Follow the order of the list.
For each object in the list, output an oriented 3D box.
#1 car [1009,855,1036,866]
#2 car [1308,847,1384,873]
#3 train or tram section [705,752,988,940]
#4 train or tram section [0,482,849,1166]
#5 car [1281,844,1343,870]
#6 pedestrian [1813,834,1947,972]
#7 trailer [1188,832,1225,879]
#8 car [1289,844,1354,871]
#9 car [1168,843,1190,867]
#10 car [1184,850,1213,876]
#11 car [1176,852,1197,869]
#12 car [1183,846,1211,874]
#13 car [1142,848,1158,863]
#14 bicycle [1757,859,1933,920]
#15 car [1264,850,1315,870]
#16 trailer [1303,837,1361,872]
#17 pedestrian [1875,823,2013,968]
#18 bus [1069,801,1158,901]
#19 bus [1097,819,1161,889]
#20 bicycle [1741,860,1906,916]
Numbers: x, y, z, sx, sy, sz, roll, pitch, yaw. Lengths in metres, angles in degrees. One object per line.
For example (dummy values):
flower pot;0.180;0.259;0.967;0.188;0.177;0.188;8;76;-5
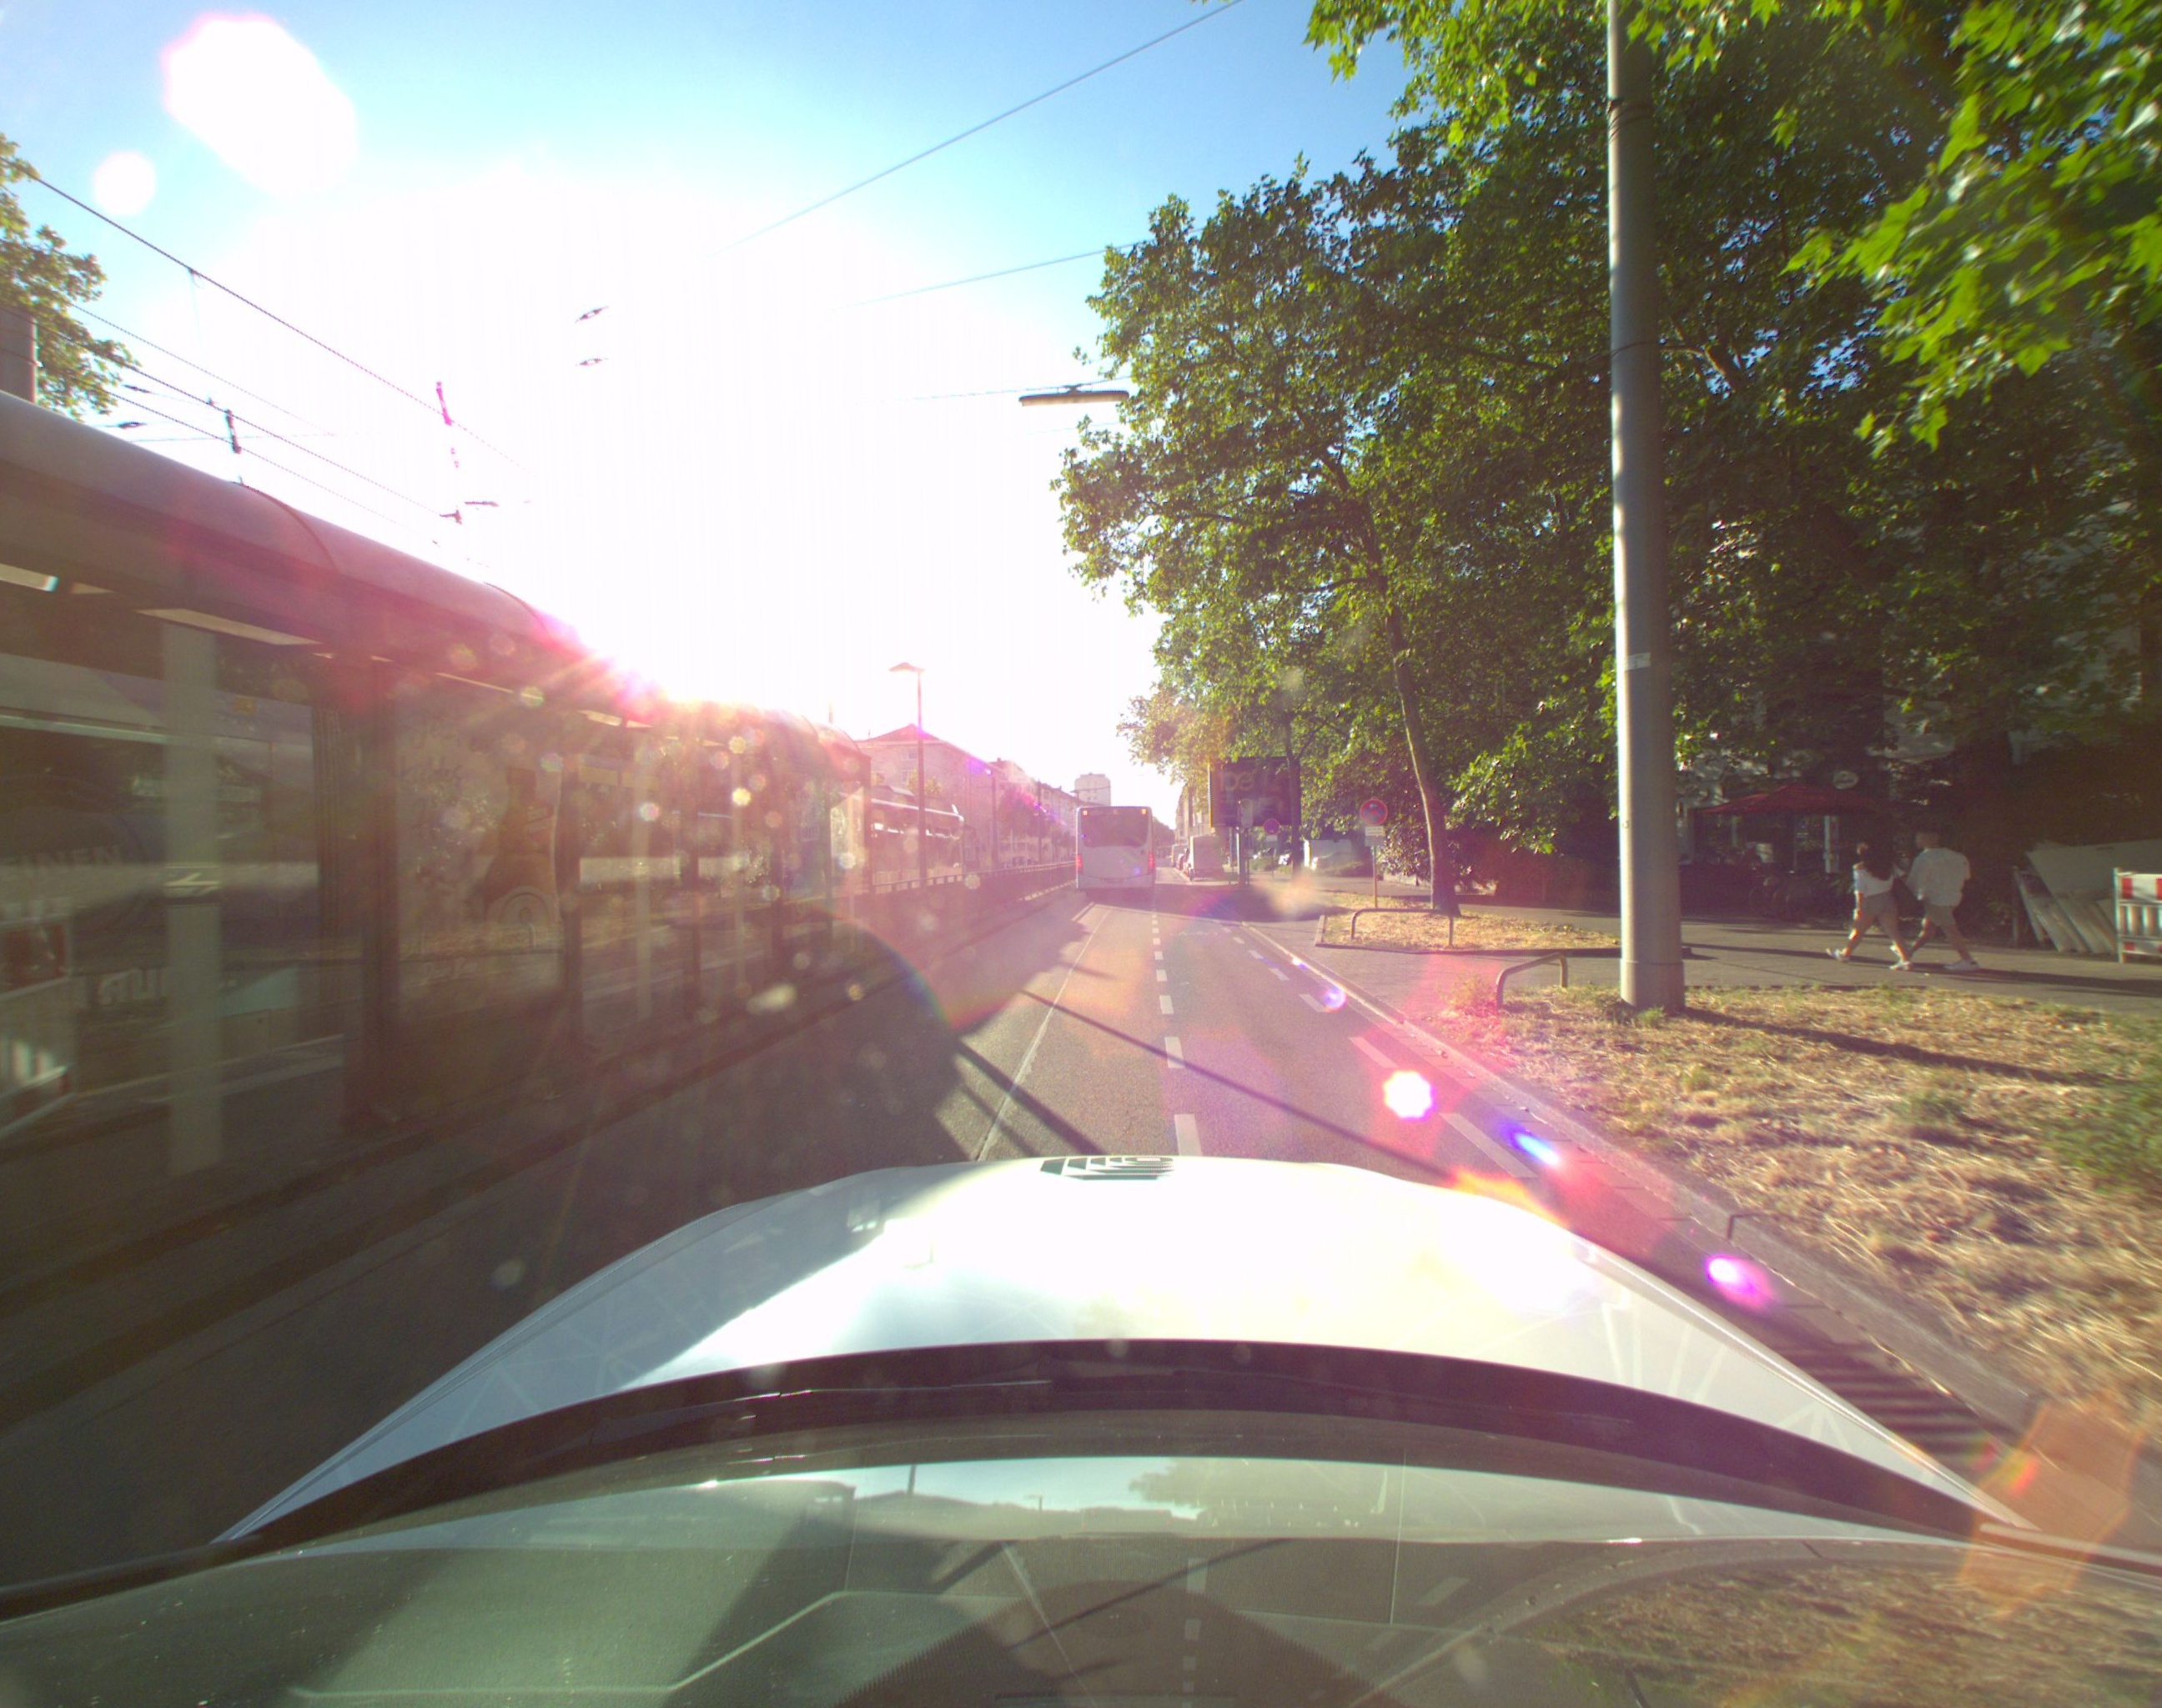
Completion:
car;-9.590;1.099;133.374;4.118;1.618;2.002;-2;0;3
car;15.264;0.339;47.091;3.900;1.336;1.709;-2;0;6
train or tram section;-5.269;-0.166;22.228;2.628;3.519;13.353;-2;0;5
train or tram section;-6.474;-0.141;9.422;2.715;3.549;12.804;-2;0;5
car;16.265;0.212;57.388;3.902;1.637;1.708;-2;-1;5
pedestrian;9.601;0.561;9.817;0.787;1.572;0.816;-1;0;0
trailer;7.311;0.074;47.636;1.824;2.557;3.323;-2;0;5
car;16.218;0.244;55.018;3.902;1.636;1.708;-2;-1;5
car;11.141;0.095;92.737;2.271;2.627;5.317;-2;0;5
car;7.853;0.595;54.737;1.692;1.588;3.833;-2;0;5
car;9.919;0.568;76.696;1.663;1.463;3.939;-4;-1;5
car;8.598;0.467;60.734;1.838;1.956;4.550;-2;0;5
car;8.882;0.166;104.914;1.983;1.816;4.007;-1;0;6
bicycle;14.033;0.654;15.016;2.359;1.024;0.666;-2;-1;10
car;17.584;0.497;68.724;3.902;1.588;1.708;-2;-1;5
trailer;15.306;0.033;49.790;3.048;2.069;1.882;-1;0;6
pedestrian;10.406;0.477;9.853;0.787;1.667;0.816;-1;0;0
bus;1.546;-0.111;31.293;2.720;3.139;10.720;-1;0;6
bus;2.587;-0.017;41.075;2.694;3.107;8.995;-1;0;6
bicycle;14.440;0.661;15.897;2.358;1.024;0.666;-1;-1;12
